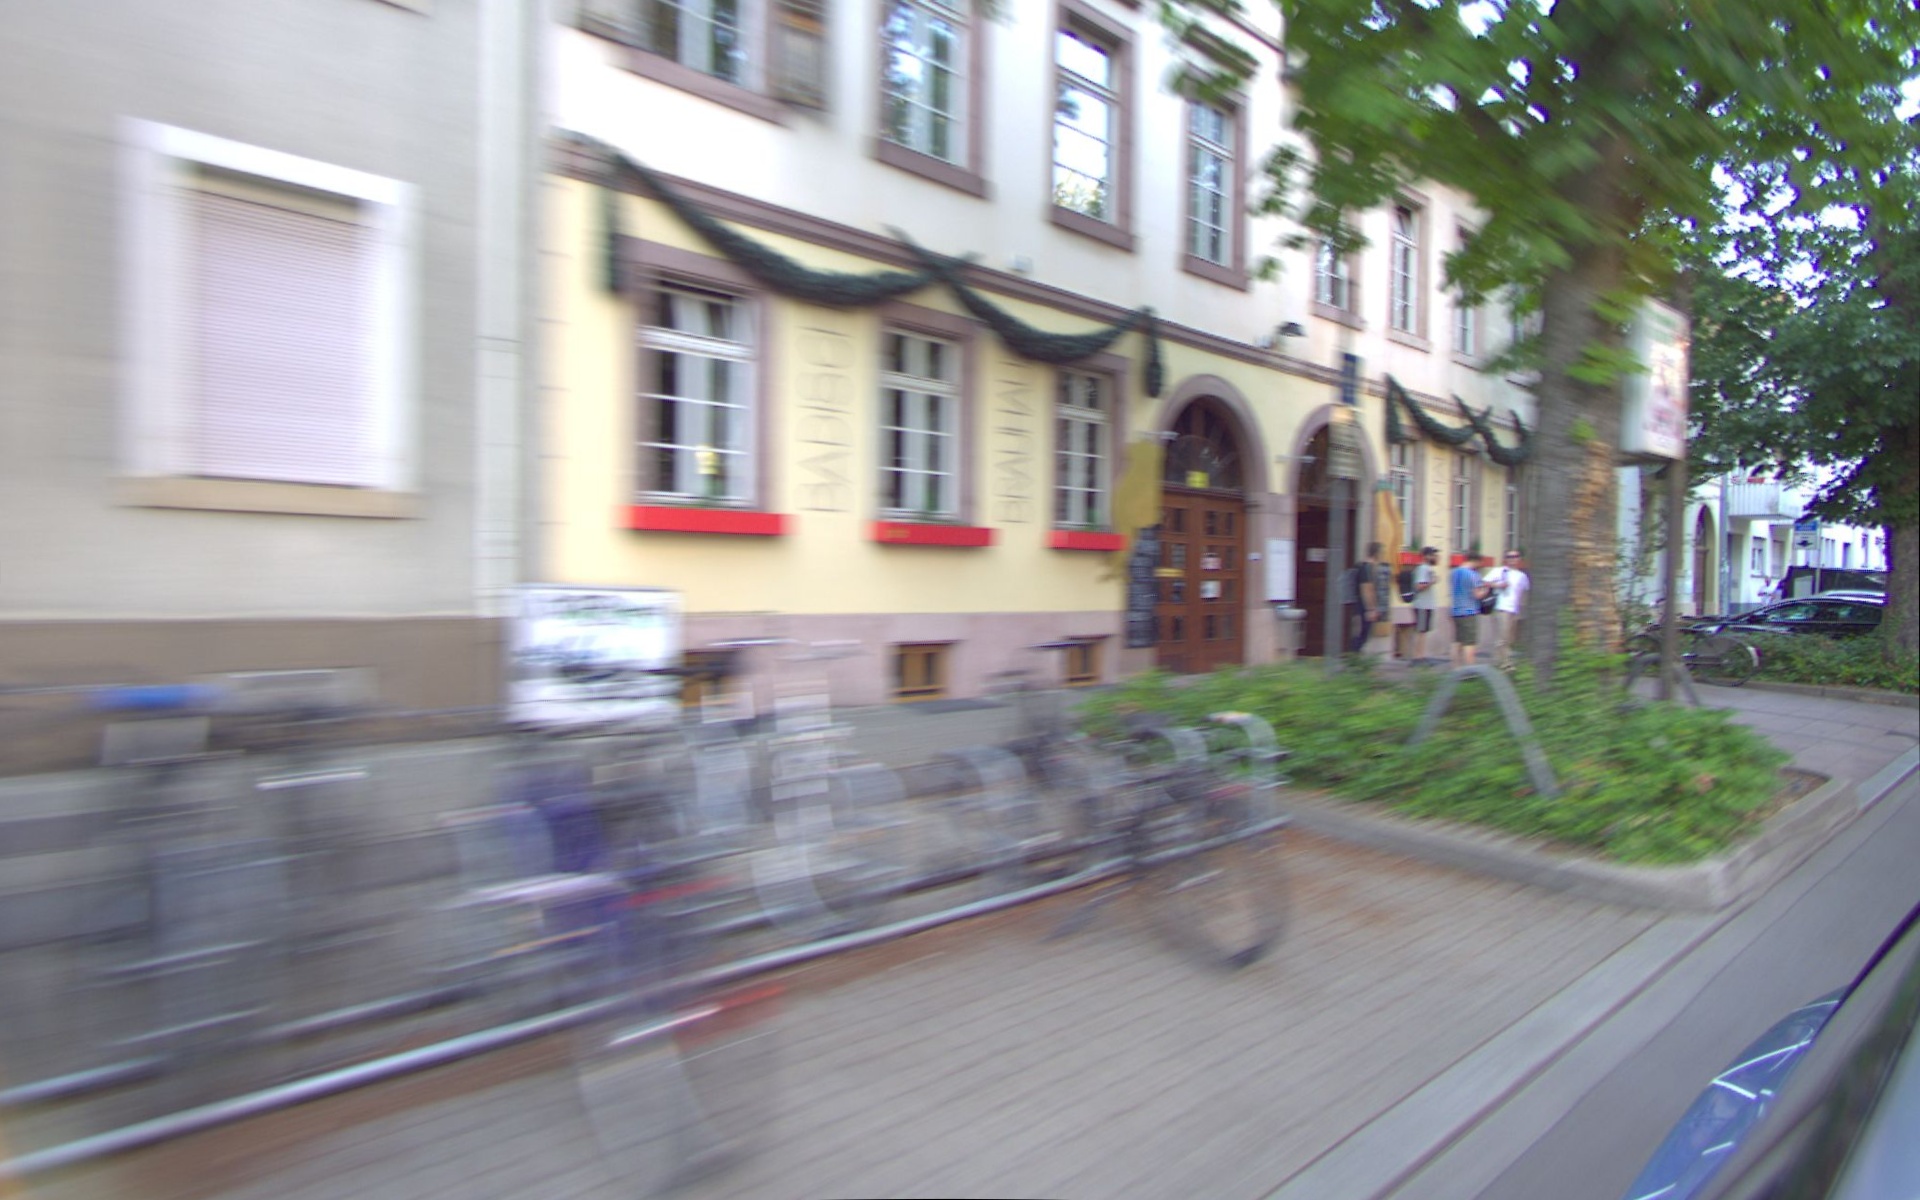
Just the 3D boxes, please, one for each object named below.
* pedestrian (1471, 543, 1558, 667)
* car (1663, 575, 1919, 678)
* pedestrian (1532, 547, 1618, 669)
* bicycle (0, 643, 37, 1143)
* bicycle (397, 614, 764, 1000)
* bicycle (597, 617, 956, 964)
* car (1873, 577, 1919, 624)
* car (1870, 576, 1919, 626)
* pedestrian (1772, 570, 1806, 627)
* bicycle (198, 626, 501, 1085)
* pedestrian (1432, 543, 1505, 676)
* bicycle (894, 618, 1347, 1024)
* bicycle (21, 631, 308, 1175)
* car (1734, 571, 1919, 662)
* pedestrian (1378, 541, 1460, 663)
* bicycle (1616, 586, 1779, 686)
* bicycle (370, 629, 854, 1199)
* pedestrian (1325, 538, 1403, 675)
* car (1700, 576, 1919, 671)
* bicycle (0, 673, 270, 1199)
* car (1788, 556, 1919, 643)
[{"bbox_3d":[8.130,0.066,14.857,0.732,1.760,0.716,2,2,-20],"label":"pedestrian"},{"bbox_3d":[15.168,0.417,17.654,1.853,1.410,4.410,-1,5,-42],"label":"car"},{"bbox_3d":[9.199,0.108,15.154,0.711,1.760,0.710,2,2,-20],"label":"pedestrian"},{"bbox_3d":[-3.154,0.700,2.831,1.793,1.157,0.659,3,2,41],"label":"bicycle"},{"bbox_3d":[-1.623,0.690,4.148,1.793,1.157,0.642,3,2,42],"label":"bicycle"},{"bbox_3d":[-0.894,0.706,4.526,1.795,1.142,0.653,4,3,45],"label":"bicycle"},{"bbox_3d":[31.903,0.109,32.337,1.668,1.440,3.802,0,5,-41],"label":"car"},{"bbox_3d":[33.974,0.153,34.120,1.910,1.597,4.601,0,5,-41],"label":"car"},{"bbox_3d":[24.093,-0.048,29.414,0.724,1.619,0.670,0,0,-40],"label":"pedestrian"},{"bbox_3d":[-2.212,0.714,3.548,0.492,1.121,1.795,0,3,-45],"label":"bicycle"},{"bbox_3d":[6.939,0.116,13.810,0.612,1.760,0.616,1,2,-40],"label":"pedestrian"},{"bbox_3d":[0.550,0.732,4.179,0.661,1.193,1.833,0,2,-41],"label":"bicycle"},{"bbox_3d":[-2.533,0.723,3.135,0.492,1.121,1.795,0,3,-45],"label":"bicycle"},{"bbox_3d":[18.756,0.317,21.194,1.683,1.597,3.691,0,5,-39],"label":"car"},{"bbox_3d":[6.858,0.017,15.137,0.729,1.760,0.729,2,2,-13],"label":"pedestrian"},{"bbox_3d":[10.657,0.481,14.670,1.793,1.247,0.663,5,4,41],"label":"bicycle"},{"bbox_3d":[-1.063,0.743,2.733,0.590,1.193,1.833,0,2,-41],"label":"bicycle"},{"bbox_3d":[5.455,0.074,13.656,0.774,1.760,0.676,4,2,34],"label":"pedestrian"},{"bbox_3d":[16.881,0.411,19.386,1.893,1.454,3.996,-1,5,-41],"label":"car"},{"bbox_3d":[-1.784,0.795,1.556,1.835,1.149,0.734,3,2,40],"label":"bicycle"},{"bbox_3d":[24.401,0.028,25.807,2.002,2.035,4.701,0,5,-40],"label":"car"}]
